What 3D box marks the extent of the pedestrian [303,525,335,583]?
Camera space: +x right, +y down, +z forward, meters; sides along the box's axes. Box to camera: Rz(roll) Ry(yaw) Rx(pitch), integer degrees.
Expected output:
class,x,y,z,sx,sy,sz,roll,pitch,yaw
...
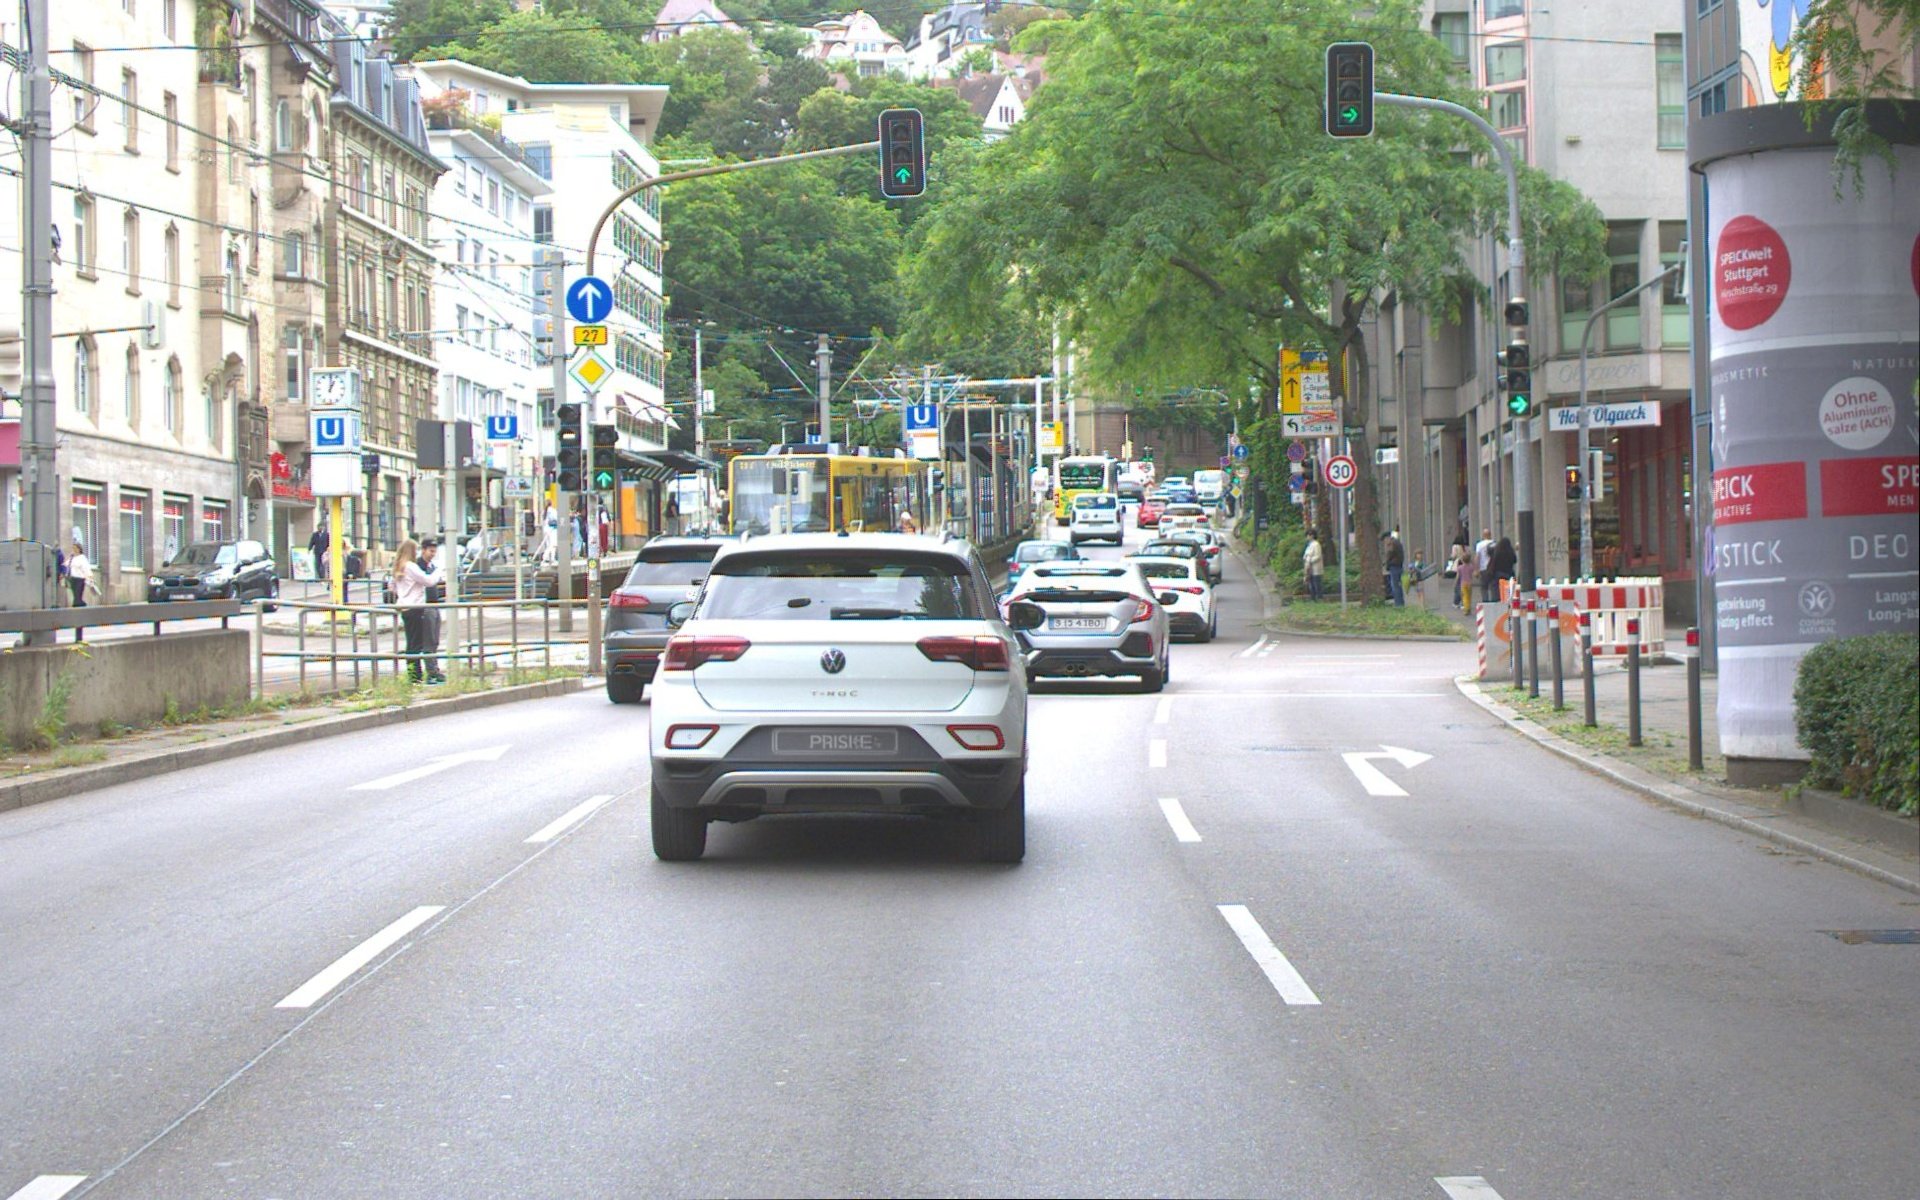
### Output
class,x,y,z,sx,sy,sz,roll,pitch,yaw
pedestrian,-19.620,-1.405,105.181,0.627,1.756,0.846,-1,1,-38

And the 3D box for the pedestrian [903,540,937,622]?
class,x,y,z,sx,sy,sz,roll,pitch,yaw
pedestrian,-0.839,-0.407,72.275,0.635,1.705,0.871,0,1,4

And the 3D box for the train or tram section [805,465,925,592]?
class,x,y,z,sx,sy,sz,roll,pitch,yaw
train or tram section,-2.700,-2.074,99.159,2.835,3.509,5.751,1,1,4

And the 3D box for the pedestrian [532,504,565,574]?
class,x,y,z,sx,sy,sz,roll,pitch,yaw
pedestrian,-10.129,-1.496,84.544,0.688,1.705,0.662,0,1,3

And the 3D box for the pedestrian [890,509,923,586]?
class,x,y,z,sx,sy,sz,roll,pitch,yaw
pedestrian,-1.197,-1.184,76.978,0.685,1.705,0.712,0,1,4

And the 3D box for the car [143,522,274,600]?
class,x,y,z,sx,sy,sz,roll,pitch,yaw
car,-17.387,-0.896,79.763,1.674,1.753,4.781,1,0,4

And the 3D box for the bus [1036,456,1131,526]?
class,x,y,z,sx,sy,sz,roll,pitch,yaw
bus,6.087,-5.246,167.423,3.373,3.054,13.321,1,1,7

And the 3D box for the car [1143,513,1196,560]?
class,x,y,z,sx,sy,sz,roll,pitch,yaw
car,7.762,-2.348,127.345,1.885,1.678,4.160,1,0,4

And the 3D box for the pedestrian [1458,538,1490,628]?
class,x,y,z,sx,sy,sz,roll,pitch,yaw
pedestrian,10.308,-0.343,68.961,0.518,1.783,0.764,1,0,0

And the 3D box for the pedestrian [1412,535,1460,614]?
class,x,y,z,sx,sy,sz,roll,pitch,yaw
pedestrian,9.561,-0.516,69.045,0.835,1.557,0.764,1,0,0

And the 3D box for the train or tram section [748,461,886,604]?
class,x,y,z,sx,sy,sz,roll,pitch,yaw
train or tram section,-3.599,-1.734,87.661,2.835,3.509,5.751,1,1,4

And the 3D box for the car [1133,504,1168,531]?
class,x,y,z,sx,sy,sz,roll,pitch,yaw
car,8.818,-3.801,158.777,1.582,1.168,3.678,1,0,4

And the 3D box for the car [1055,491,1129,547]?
class,x,y,z,sx,sy,sz,roll,pitch,yaw
car,5.086,-3.079,131.328,2.365,2.007,5.147,1,0,7

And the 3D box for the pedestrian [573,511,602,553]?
class,x,y,z,sx,sy,sz,roll,pitch,yaw
pedestrian,-9.936,-1.808,91.677,0.635,1.104,0.690,0,1,4

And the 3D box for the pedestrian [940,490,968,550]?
class,x,y,z,sx,sy,sz,roll,pitch,yaw
pedestrian,-0.172,-2.311,99.302,0.718,1.725,0.670,1,0,5

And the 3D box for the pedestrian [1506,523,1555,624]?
class,x,y,z,sx,sy,sz,roll,pitch,yaw
pedestrian,11.525,-0.532,69.432,0.835,2.007,0.764,1,0,0

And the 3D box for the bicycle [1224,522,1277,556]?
class,x,y,z,sx,sy,sz,roll,pitch,yaw
bicycle,11.032,-2.323,130.689,1.882,1.262,0.764,1,0,15

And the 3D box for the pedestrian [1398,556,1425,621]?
class,x,y,z,sx,sy,sz,roll,pitch,yaw
pedestrian,9.280,-0.230,70.640,0.471,1.329,0.520,1,0,0

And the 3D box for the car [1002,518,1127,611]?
class,x,y,z,sx,sy,sz,roll,pitch,yaw
car,2.429,-0.803,78.399,2.365,2.007,5.147,1,0,7

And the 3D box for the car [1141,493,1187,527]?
class,x,y,z,sx,sy,sz,roll,pitch,yaw
car,10.496,-4.624,176.691,1.885,1.678,4.159,1,0,11

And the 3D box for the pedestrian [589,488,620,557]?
class,x,y,z,sx,sy,sz,roll,pitch,yaw
pedestrian,-9.140,-1.983,88.359,0.627,1.756,0.846,0,1,5

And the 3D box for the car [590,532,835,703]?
class,x,y,z,sx,sy,sz,roll,pitch,yaw
car,-2.447,0.149,34.965,1.994,1.630,4.000,0,0,3

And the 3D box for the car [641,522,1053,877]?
class,x,y,z,sx,sy,sz,roll,pitch,yaw
car,-0.605,0.432,17.569,1.837,1.578,4.157,1,0,-3

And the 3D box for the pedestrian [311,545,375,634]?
class,x,y,z,sx,sy,sz,roll,pitch,yaw
pedestrian,-11.883,-0.213,66.237,0.876,1.699,0.811,0,1,33

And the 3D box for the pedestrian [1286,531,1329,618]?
class,x,y,z,sx,sy,sz,roll,pitch,yaw
pedestrian,7.373,-0.543,72.955,0.693,1.771,0.689,-5,1,0

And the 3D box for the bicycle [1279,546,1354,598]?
class,x,y,z,sx,sy,sz,roll,pitch,yaw
bicycle,8.650,-0.685,83.489,1.707,1.180,0.449,-2,1,-3

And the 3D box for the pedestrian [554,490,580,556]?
class,x,y,z,sx,sy,sz,roll,pitch,yaw
pedestrian,-10.100,-1.982,88.410,0.635,1.705,0.690,0,1,-5

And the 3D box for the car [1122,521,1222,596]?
class,x,y,z,sx,sy,sz,roll,pitch,yaw
car,5.853,-1.137,95.572,2.364,2.007,5.148,1,0,-1

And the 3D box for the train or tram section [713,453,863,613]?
class,x,y,z,sx,sy,sz,roll,pitch,yaw
train or tram section,-4.030,-1.615,81.912,2.835,3.666,5.751,1,1,4

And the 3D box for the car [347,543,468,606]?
class,x,y,z,sx,sy,sz,roll,pitch,yaw
car,-13.902,-0.657,86.721,1.657,1.547,4.534,0,1,9

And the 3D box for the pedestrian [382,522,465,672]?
class,x,y,z,sx,sy,sz,roll,pitch,yaw
pedestrian,-6.215,-0.042,39.843,0.792,1.715,0.772,0,1,4

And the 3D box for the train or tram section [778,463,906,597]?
class,x,y,z,sx,sy,sz,roll,pitch,yaw
train or tram section,-3.163,-1.911,93.397,2.835,3.509,5.751,1,1,4

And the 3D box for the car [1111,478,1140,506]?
class,x,y,z,sx,sy,sz,roll,pitch,yaw
car,9.794,-6.369,203.328,1.673,1.555,3.986,1,0,4

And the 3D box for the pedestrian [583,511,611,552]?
class,x,y,z,sx,sy,sz,roll,pitch,yaw
pedestrian,-9.805,-1.842,92.885,0.635,1.104,0.690,0,1,4

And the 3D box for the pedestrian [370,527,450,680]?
class,x,y,z,sx,sy,sz,roll,pitch,yaw
pedestrian,-6.261,0.036,39.155,0.764,1.715,0.637,0,1,4

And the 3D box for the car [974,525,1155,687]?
class,x,y,z,sx,sy,sz,roll,pitch,yaw
car,1.213,0.042,38.176,1.885,1.678,4.161,1,0,3

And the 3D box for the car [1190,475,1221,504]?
class,x,y,z,sx,sy,sz,roll,pitch,yaw
car,13.813,-6.224,193.706,1.673,1.555,3.678,1,0,4

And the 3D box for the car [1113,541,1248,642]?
class,x,y,z,sx,sy,sz,roll,pitch,yaw
car,3.809,-0.169,60.032,1.884,1.678,4.162,1,0,-3

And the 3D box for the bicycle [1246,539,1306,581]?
class,x,y,z,sx,sy,sz,roll,pitch,yaw
bicycle,9.082,-1.152,98.790,1.620,1.124,0.613,-2,1,8

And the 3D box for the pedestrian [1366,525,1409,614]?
class,x,y,z,sx,sy,sz,roll,pitch,yaw
pedestrian,8.899,-0.639,71.578,0.721,1.796,0.834,-3,3,0

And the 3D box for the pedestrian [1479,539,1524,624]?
class,x,y,z,sx,sy,sz,roll,pitch,yaw
pedestrian,10.575,-0.362,67.144,0.762,1.606,0.618,-1,3,16

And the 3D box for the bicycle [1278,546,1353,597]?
class,x,y,z,sx,sy,sz,roll,pitch,yaw
bicycle,8.681,-0.696,83.962,1.707,1.180,0.449,-2,1,-3
